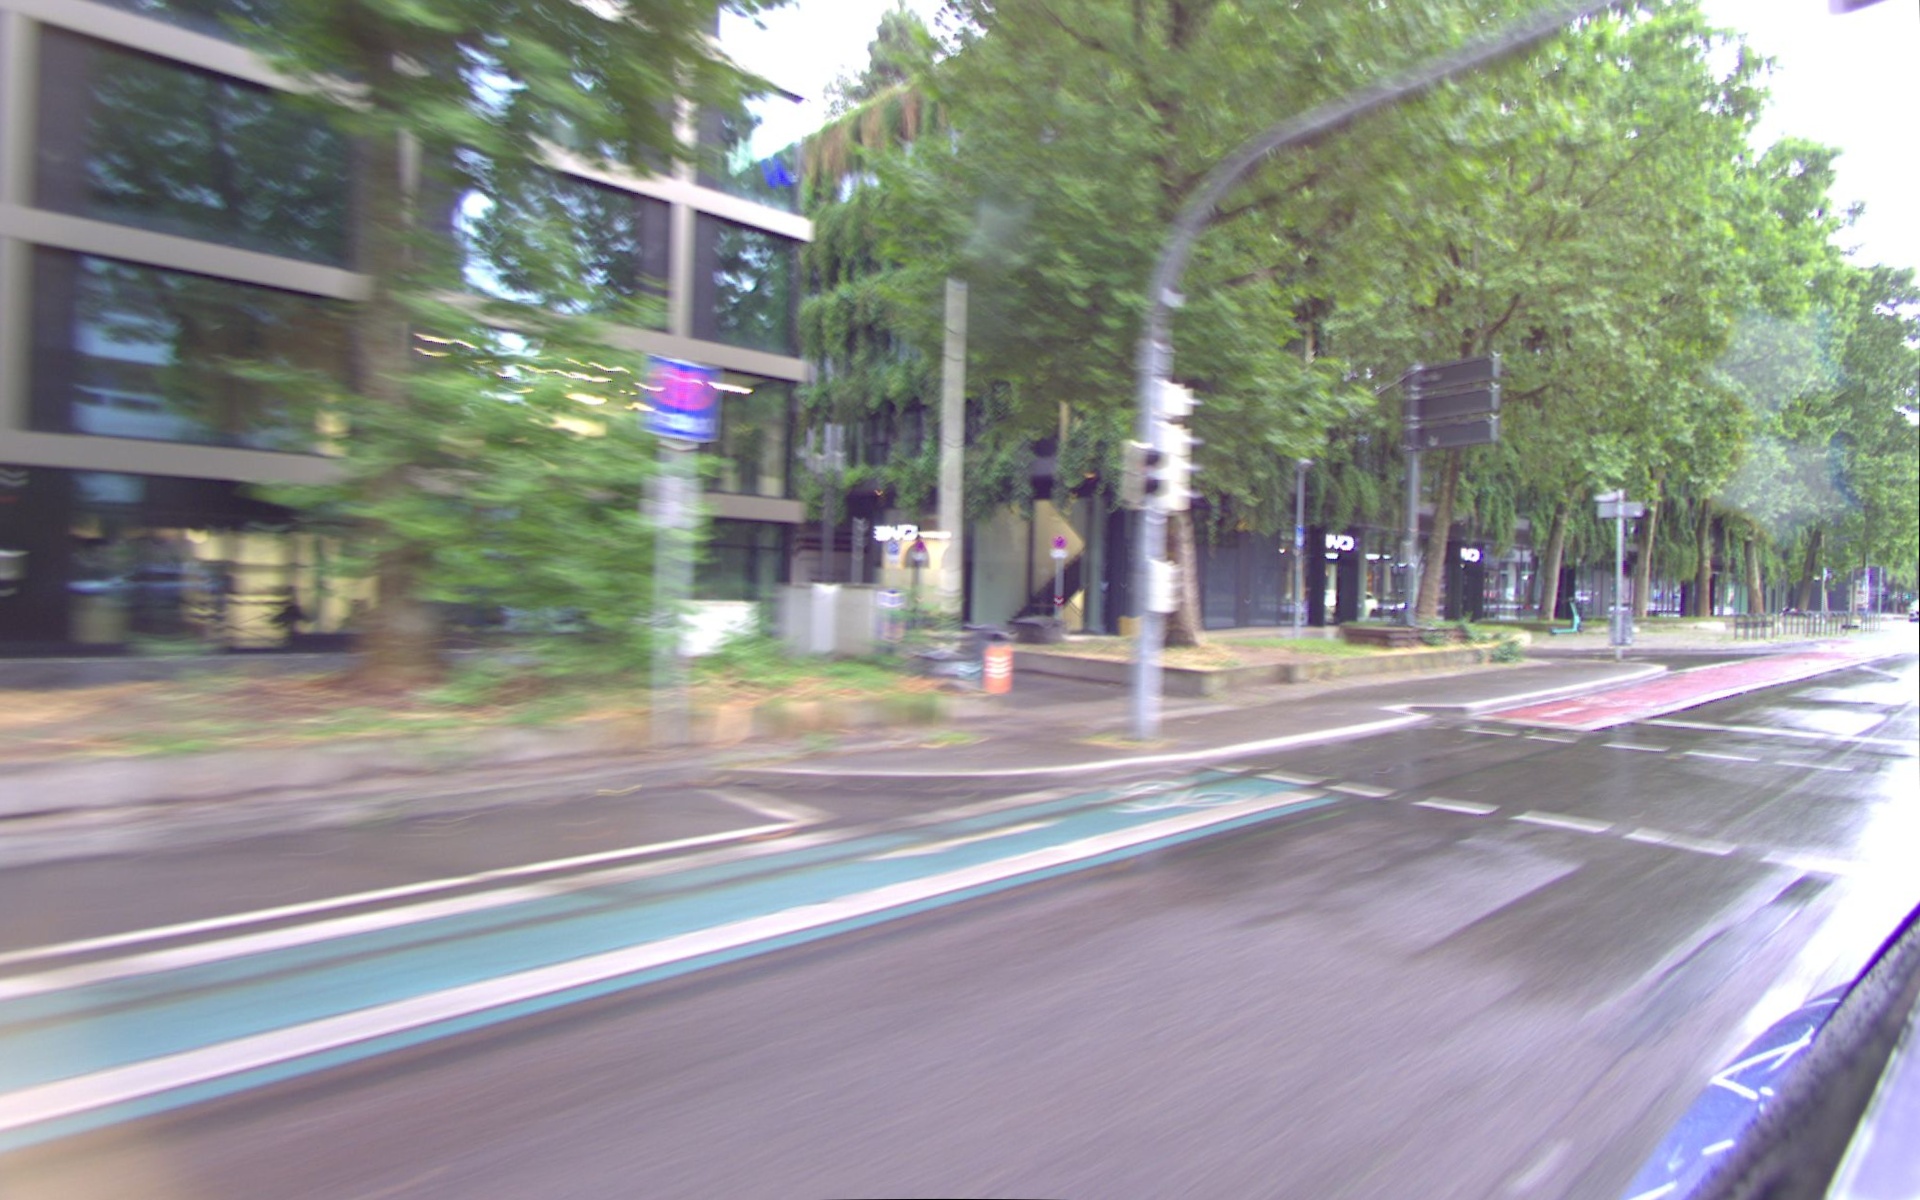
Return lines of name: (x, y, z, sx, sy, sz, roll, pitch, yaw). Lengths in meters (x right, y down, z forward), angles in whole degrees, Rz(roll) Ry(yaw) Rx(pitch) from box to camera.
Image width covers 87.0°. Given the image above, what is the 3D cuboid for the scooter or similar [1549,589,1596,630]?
scooter or similar: (19.720, 0.307, 32.606, 1.165, 1.298, 0.535, -1, -1, 9)
